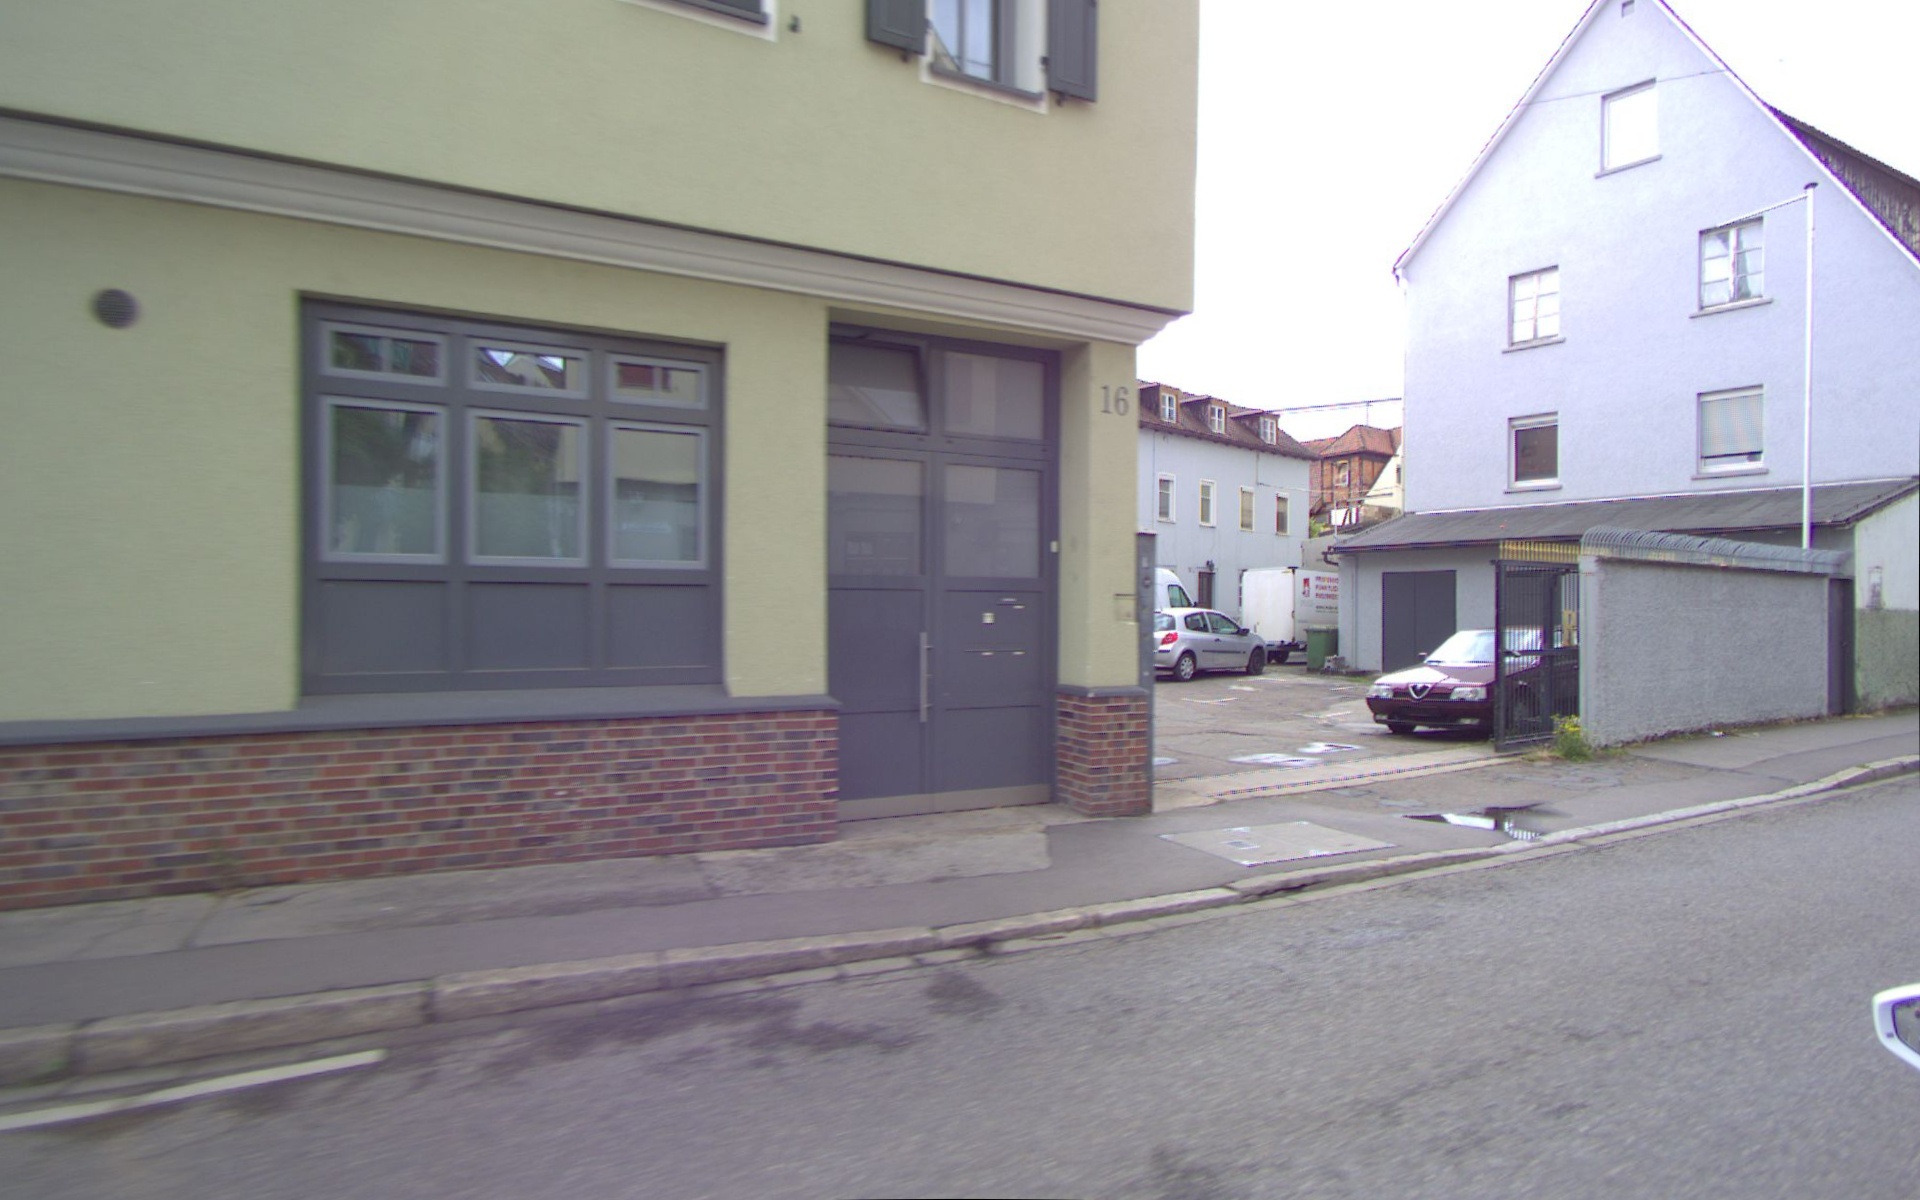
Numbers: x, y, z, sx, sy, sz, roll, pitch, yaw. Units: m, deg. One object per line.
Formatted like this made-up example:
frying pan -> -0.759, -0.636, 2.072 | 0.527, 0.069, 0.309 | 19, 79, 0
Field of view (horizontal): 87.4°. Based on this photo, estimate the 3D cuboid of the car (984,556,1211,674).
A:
car -> 3.385, 0.389, 23.758 | 5.808, 2.475, 1.977 | 2, -1, -40

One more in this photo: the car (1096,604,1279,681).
car -> 5.075, 0.903, 22.191 | 3.968, 1.539, 1.977 | 2, -1, -40

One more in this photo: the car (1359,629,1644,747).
car -> 7.312, 1.063, 13.405 | 4.220, 1.313, 1.826 | 1, -1, -38

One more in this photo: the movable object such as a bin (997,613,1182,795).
movable object such as a bin -> 1.182, 0.885, 9.281 | 1.091, 1.496, 1.296 | 1, 0, -39

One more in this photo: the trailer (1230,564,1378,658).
trailer -> 9.182, 0.324, 26.690 | 3.967, 2.307, 1.977 | 1, -1, -40
